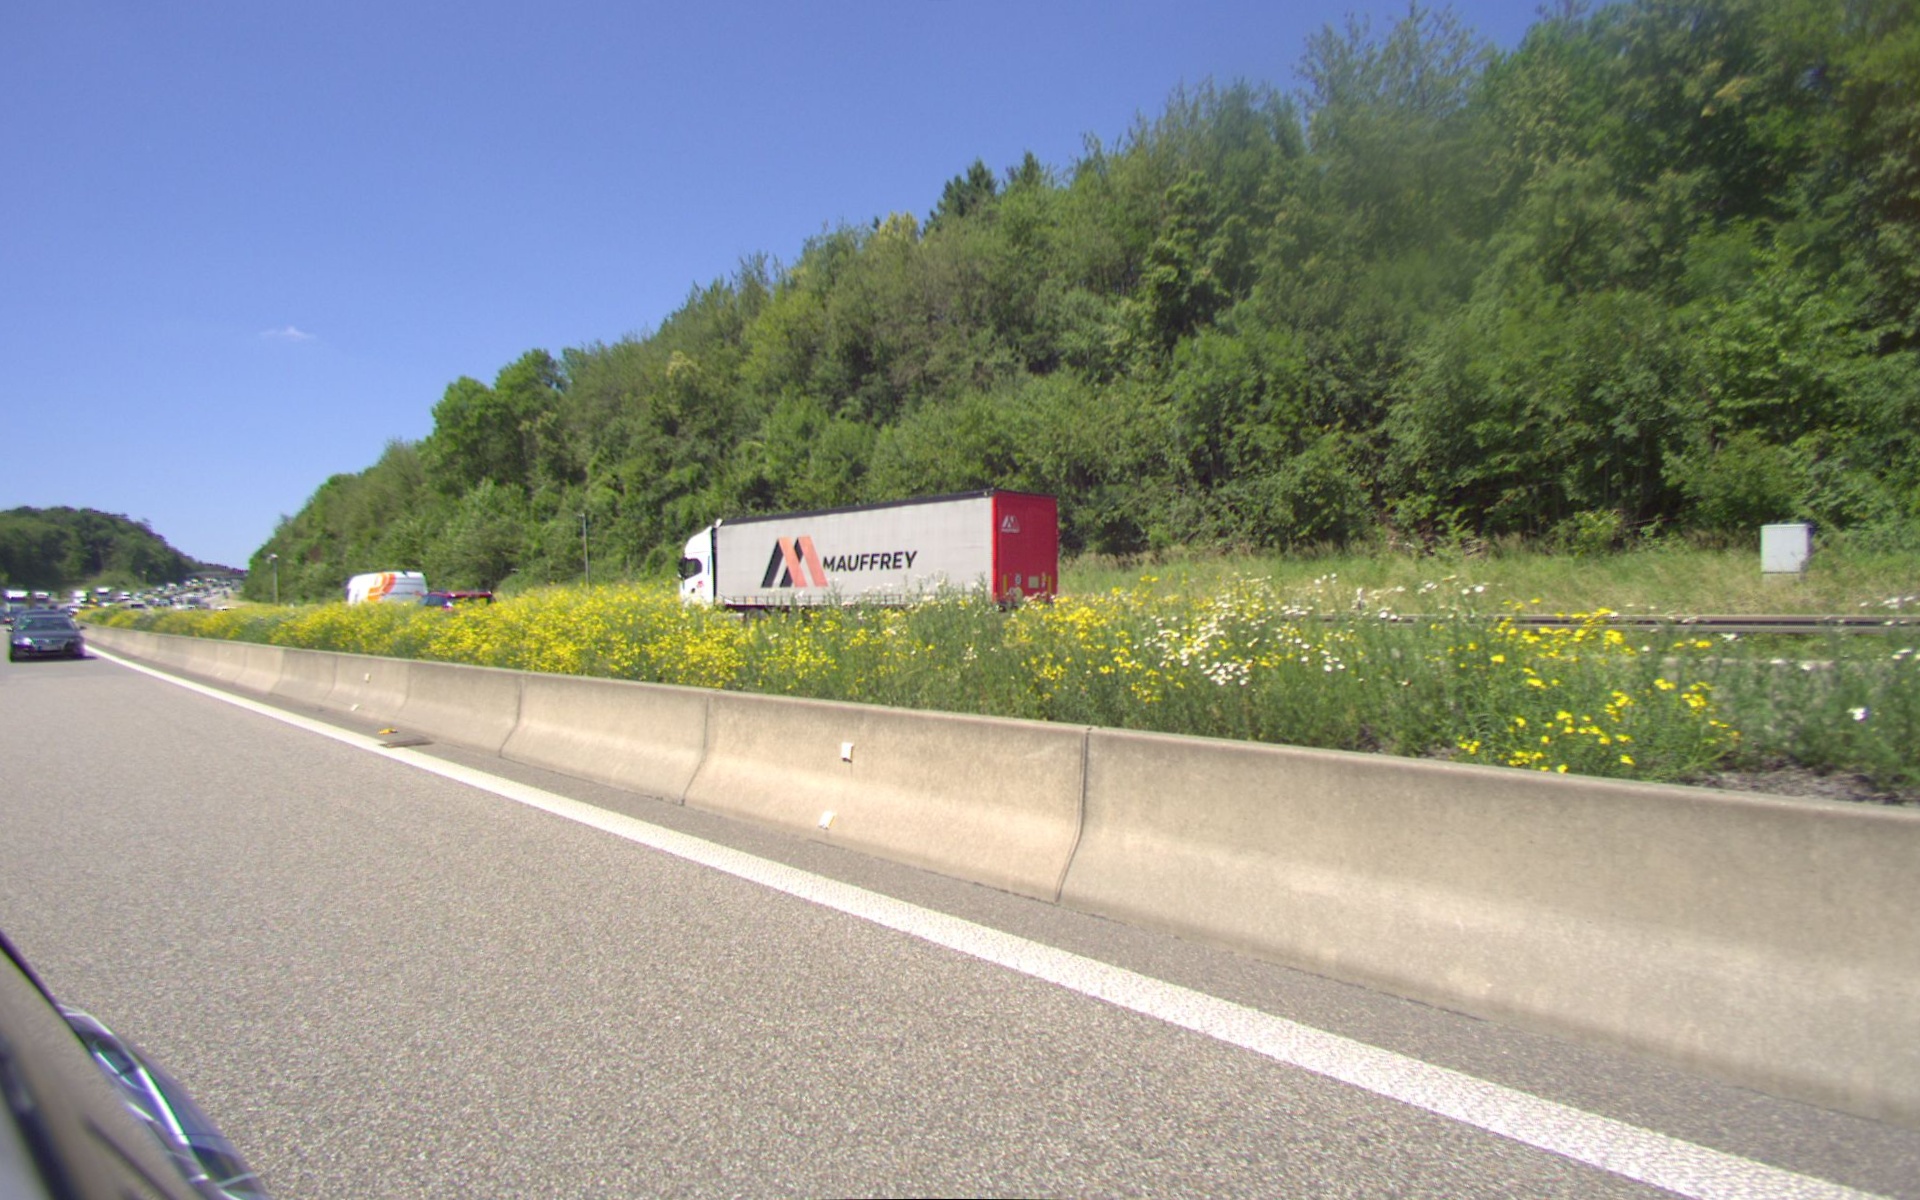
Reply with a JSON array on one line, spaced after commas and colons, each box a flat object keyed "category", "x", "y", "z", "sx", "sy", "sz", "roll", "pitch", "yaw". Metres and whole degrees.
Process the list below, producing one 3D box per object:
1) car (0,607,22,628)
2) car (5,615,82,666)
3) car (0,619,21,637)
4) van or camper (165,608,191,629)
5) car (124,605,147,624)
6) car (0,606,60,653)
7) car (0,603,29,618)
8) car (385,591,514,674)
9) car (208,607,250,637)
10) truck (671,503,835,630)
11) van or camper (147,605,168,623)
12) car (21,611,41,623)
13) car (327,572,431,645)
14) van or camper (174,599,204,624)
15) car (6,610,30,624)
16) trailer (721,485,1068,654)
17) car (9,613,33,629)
[{"category": "car", "x": -83.608, "y": 1.490, "z": 88.656, "sx": 1.969, "sy": 1.751, "sz": 4.006, "roll": -1, "pitch": 1, "yaw": -41}, {"category": "car", "x": -29.547, "y": 1.262, "z": 32.585, "sx": 1.696, "sy": 1.490, "sz": 4.003, "roll": -1, "pitch": 0, "yaw": -44}, {"category": "car", "x": -98.002, "y": 2.855, "z": 103.964, "sx": 1.968, "sy": 1.751, "sz": 4.007, "roll": -1, "pitch": 1, "yaw": -40}, {"category": "van or camper", "x": -79.532, "y": 1.898, "z": 102.879, "sx": 1.672, "sy": 2.028, "sz": 4.216, "roll": -1, "pitch": 0, "yaw": -43}, {"category": "car", "x": -121.999, "y": 2.177, "z": 149.687, "sx": 2.175, "sy": 2.762, "sz": 5.751, "roll": -1, "pitch": 0, "yaw": -44}, {"category": "car", "x": -43.643, "y": 1.328, "z": 47.464, "sx": 1.970, "sy": 2.029, "sz": 4.003, "roll": -1, "pitch": 1, "yaw": -44}, {"category": "car", "x": -158.005, "y": 1.731, "z": 169.173, "sx": 2.656, "sy": 2.500, "sz": 6.600, "roll": -1, "pitch": 1, "yaw": -36}, {"category": "car", "x": -13.685, "y": 0.781, "z": 27.033, "sx": 1.970, "sy": 2.029, "sz": 4.003, "roll": -1, "pitch": 1, "yaw": -44}, {"category": "car", "x": -53.177, "y": 1.593, "z": 73.594, "sx": 4.002, "sy": 2.029, "sz": 1.857, "roll": 0, "pitch": 1, "yaw": 45}, {"category": "truck", "x": -7.515, "y": -1.135, "z": 36.293, "sx": 2.930, "sy": 4.137, "sz": 6.092, "roll": -1, "pitch": 1, "yaw": -45}, {"category": "van or camper", "x": -133.932, "y": 2.363, "z": 168.786, "sx": 2.231, "sy": 2.921, "sz": 6.563, "roll": -1, "pitch": 0, "yaw": -43}, {"category": "car", "x": -142.261, "y": 2.595, "z": 154.963, "sx": 1.968, "sy": 1.751, "sz": 4.008, "roll": -1, "pitch": 1, "yaw": -38}, {"category": "car", "x": -25.204, "y": 0.388, "z": 43.709, "sx": 2.045, "sy": 2.918, "sz": 7.466, "roll": -1, "pitch": 0, "yaw": -45}, {"category": "van or camper", "x": -112.902, "y": 1.637, "z": 148.112, "sx": 2.510, "sy": 3.342, "sz": 9.011, "roll": -1, "pitch": 1, "yaw": -43}, {"category": "car", "x": -125.026, "y": 2.245, "z": 134.295, "sx": 1.968, "sy": 1.751, "sz": 4.008, "roll": -1, "pitch": 1, "yaw": -38}, {"category": "trailer", "x": -2.655, "y": -0.829, "z": 31.348, "sx": 2.892, "sy": 4.263, "sz": 13.073, "roll": -1, "pitch": 1, "yaw": -45}, {"category": "car", "x": -110.115, "y": 2.448, "z": 118.711, "sx": 1.969, "sy": 1.751, "sz": 4.006, "roll": -1, "pitch": 1, "yaw": -41}]
